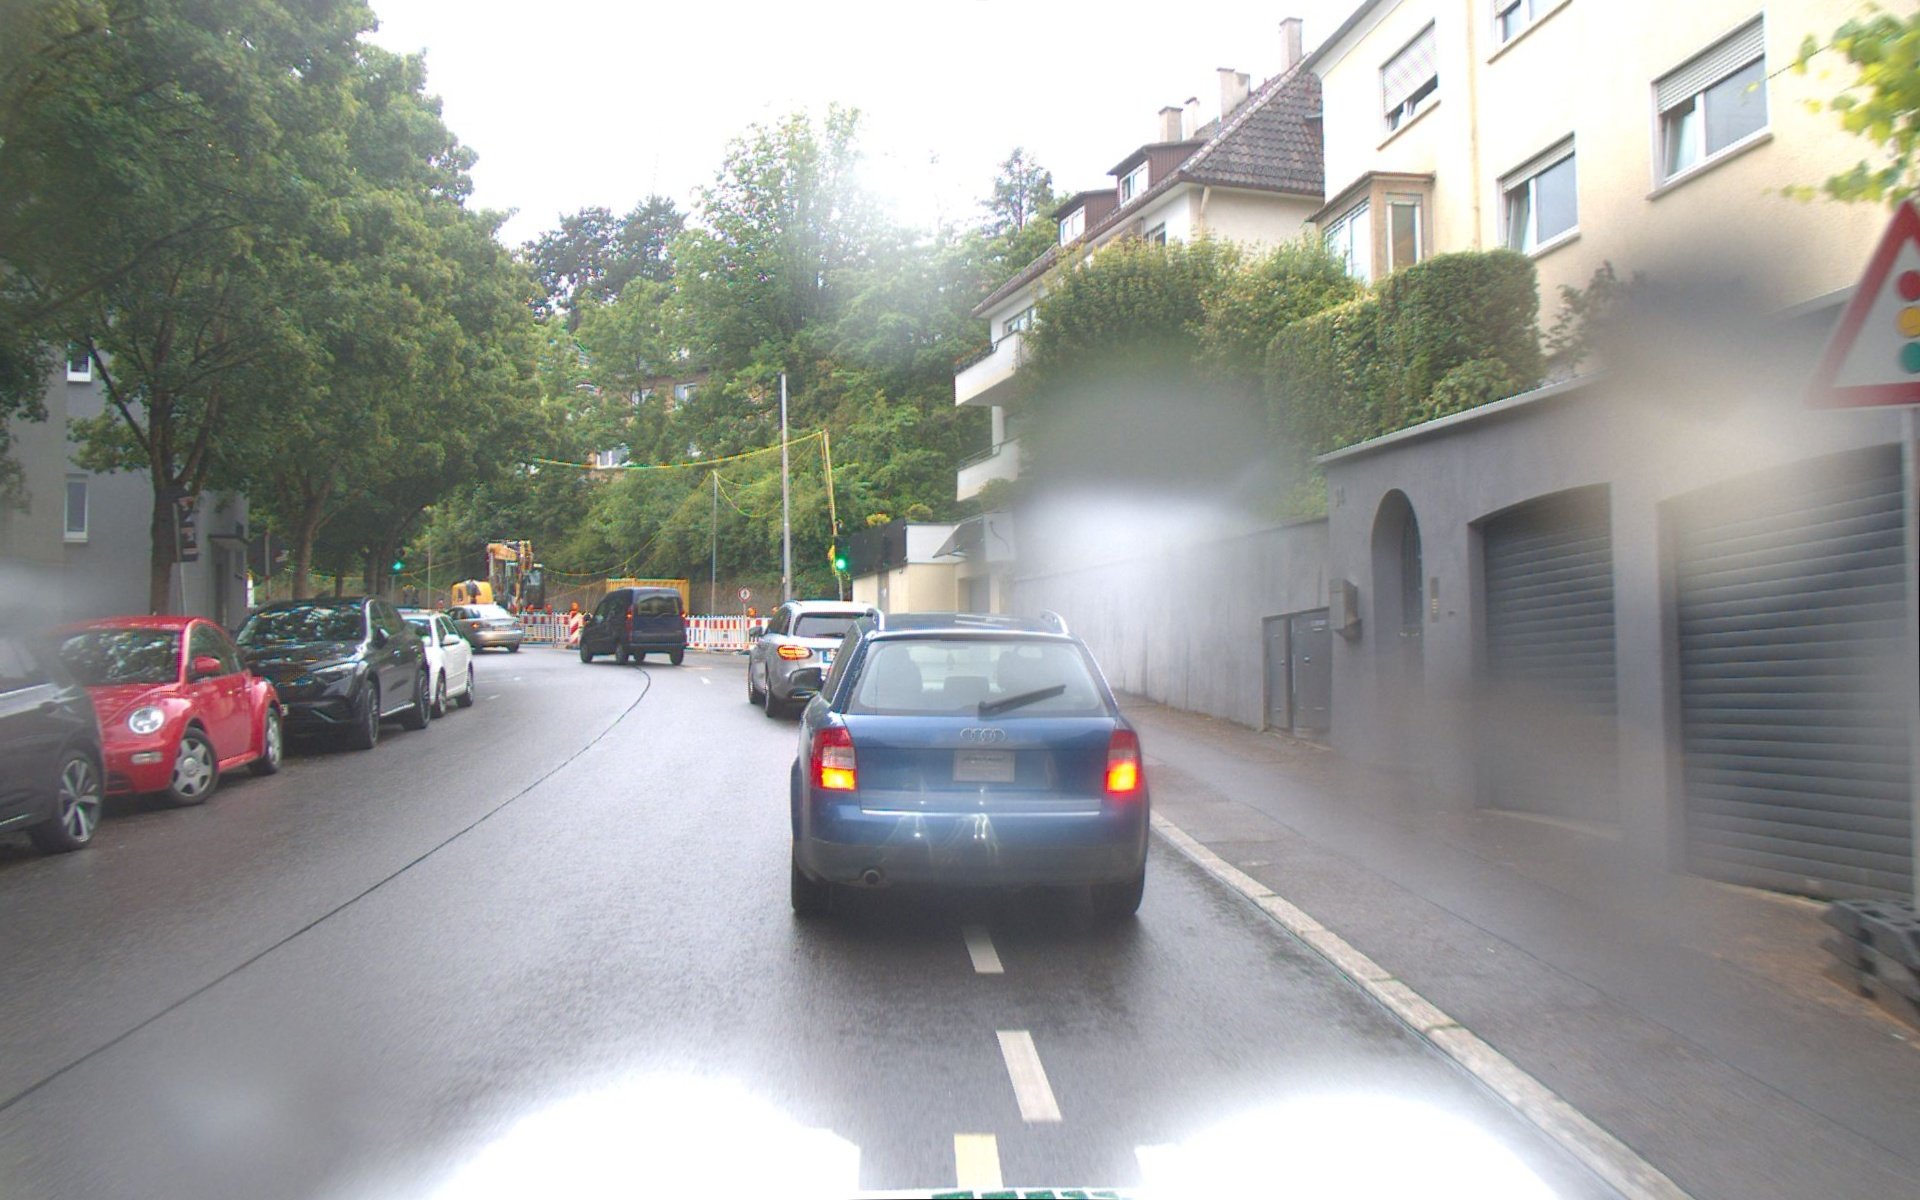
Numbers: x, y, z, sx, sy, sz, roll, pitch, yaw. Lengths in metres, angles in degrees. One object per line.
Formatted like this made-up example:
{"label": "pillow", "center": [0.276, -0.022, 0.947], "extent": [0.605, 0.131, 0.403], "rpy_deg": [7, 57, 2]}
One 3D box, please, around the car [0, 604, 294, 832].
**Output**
{"label": "car", "center": [-6.861, 0.902, 13.857], "extent": [1.604, 1.592, 3.838], "rpy_deg": [-2, -1, -11]}

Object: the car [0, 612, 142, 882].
{"label": "car", "center": [-6.164, 0.879, 8.932], "extent": [1.525, 1.514, 4.095], "rpy_deg": [-4, -1, -3]}

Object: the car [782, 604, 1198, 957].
{"label": "car", "center": [0.159, 0.773, 8.996], "extent": [1.749, 1.467, 3.964], "rpy_deg": [1, 0, 1]}

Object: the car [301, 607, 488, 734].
{"label": "car", "center": [-8.103, 0.940, 24.080], "extent": [1.650, 1.534, 4.309], "rpy_deg": [-4, 1, -7]}

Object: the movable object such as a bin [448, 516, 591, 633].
{"label": "movable object such as a bin", "center": [-16.460, -0.910, 61.469], "extent": [2.797, 4.084, 7.234], "rpy_deg": [0, 0, -36]}

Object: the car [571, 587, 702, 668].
{"label": "car", "center": [-8.049, 0.667, 40.896], "extent": [1.973, 1.825, 3.959], "rpy_deg": [-2, 0, -30]}

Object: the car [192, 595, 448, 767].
{"label": "car", "center": [-7.246, 0.816, 19.204], "extent": [1.650, 1.636, 4.569], "rpy_deg": [-4, 1, -8]}

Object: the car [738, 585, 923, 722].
{"label": "car", "center": [-1.854, 0.637, 22.350], "extent": [1.893, 1.646, 4.306], "rpy_deg": [0, 0, -13]}

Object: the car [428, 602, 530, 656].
{"label": "car", "center": [-14.757, 0.881, 50.607], "extent": [1.707, 1.512, 4.024], "rpy_deg": [-2, 0, -36]}
